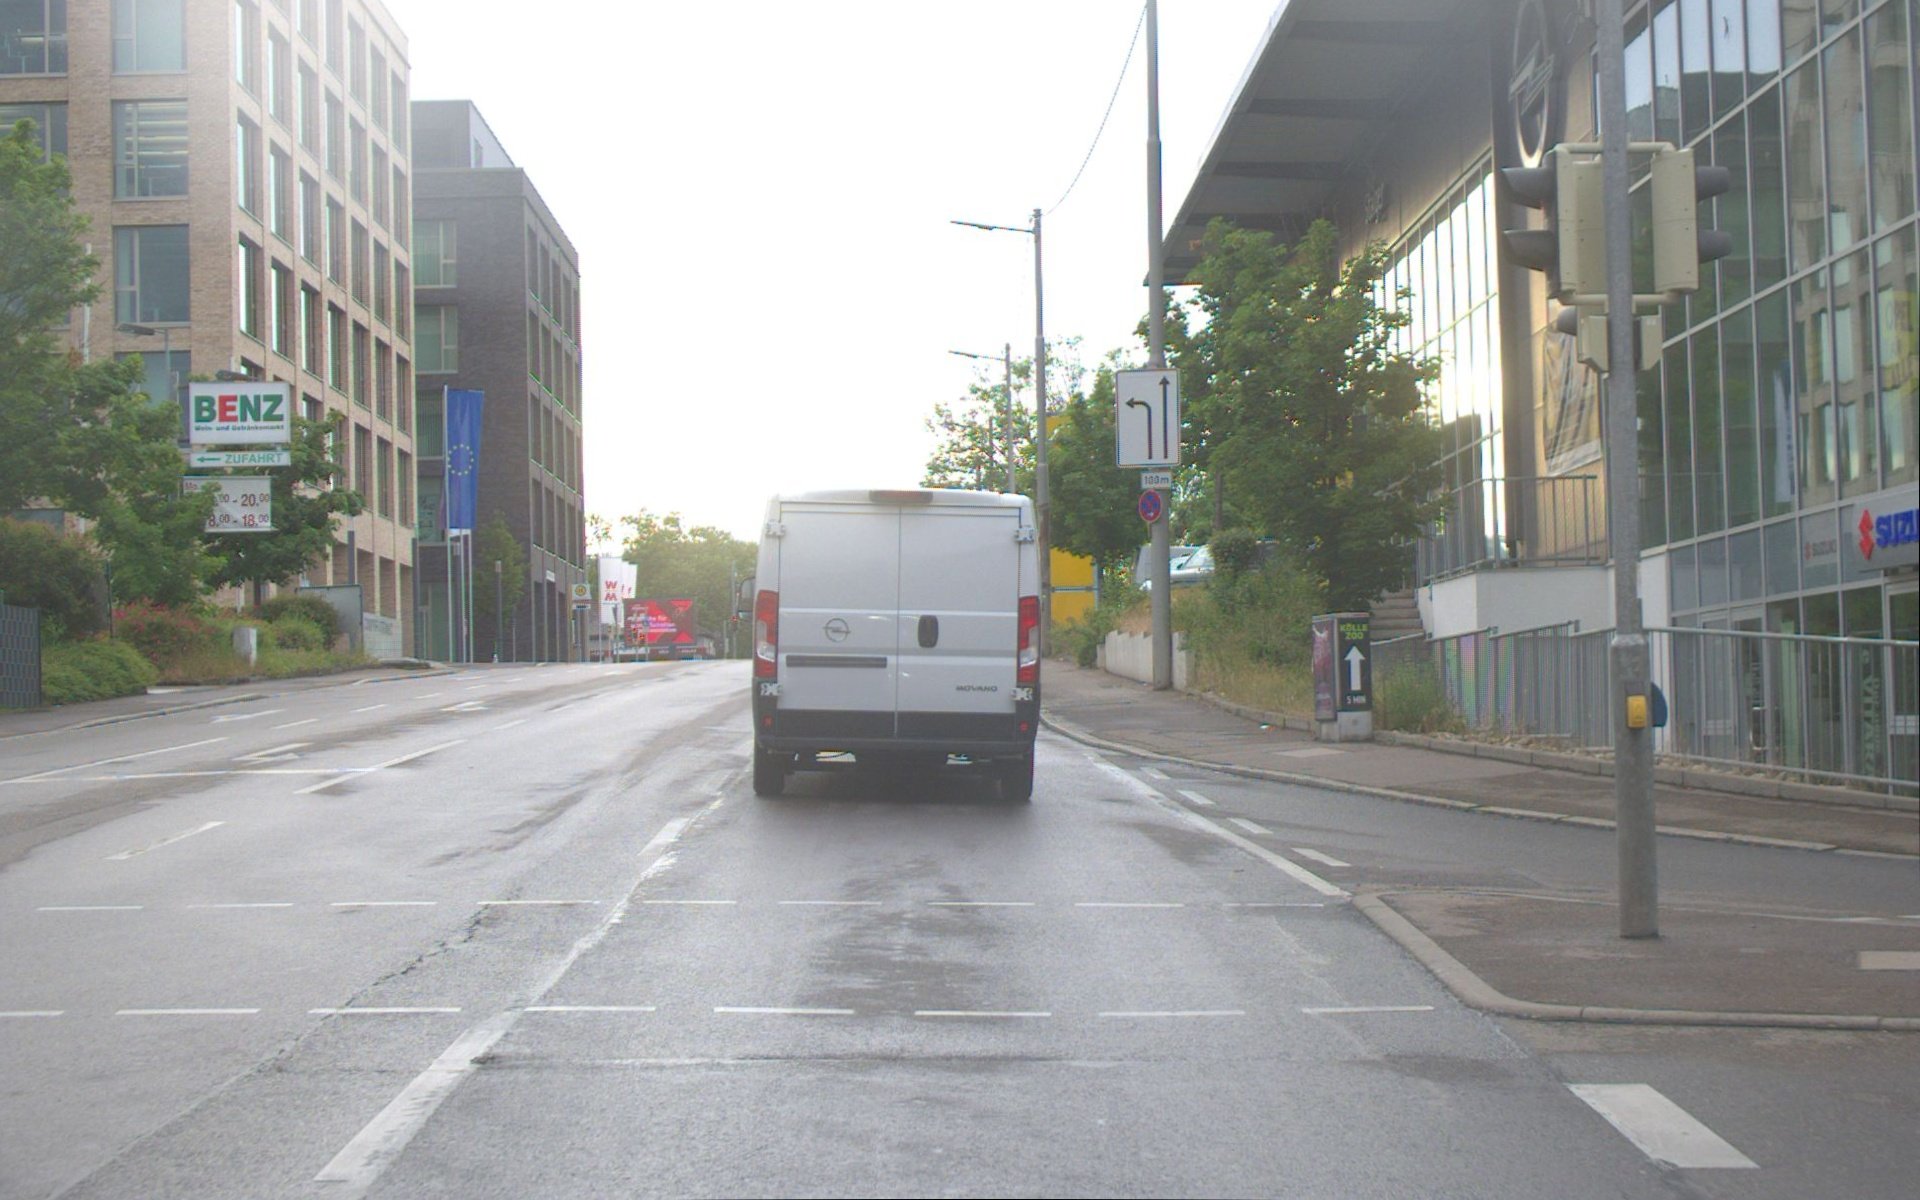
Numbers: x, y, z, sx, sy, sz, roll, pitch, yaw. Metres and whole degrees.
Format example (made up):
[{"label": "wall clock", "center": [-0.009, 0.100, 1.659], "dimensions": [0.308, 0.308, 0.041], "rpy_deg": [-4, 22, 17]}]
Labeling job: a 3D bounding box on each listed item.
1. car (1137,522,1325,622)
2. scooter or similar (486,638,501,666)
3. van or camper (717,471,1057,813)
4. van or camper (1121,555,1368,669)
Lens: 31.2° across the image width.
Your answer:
[{"label": "car", "center": [5.126, -0.492, 64.476], "dimensions": [1.996, 1.705, 4.422], "rpy_deg": [-3, -2, 25]}, {"label": "scooter or similar", "center": [-17.952, 2.005, 132.320], "dimensions": [0.351, 1.068, 1.428], "rpy_deg": [0, -2, 0]}, {"label": "van or camper", "center": [-0.510, 0.309, 26.251], "dimensions": [2.340, 2.349, 5.199], "rpy_deg": [0, 0, 0]}, {"label": "van or camper", "center": [6.853, 0.299, 83.287], "dimensions": [5.736, 2.715, 2.352], "rpy_deg": [0, -1, -1]}]
